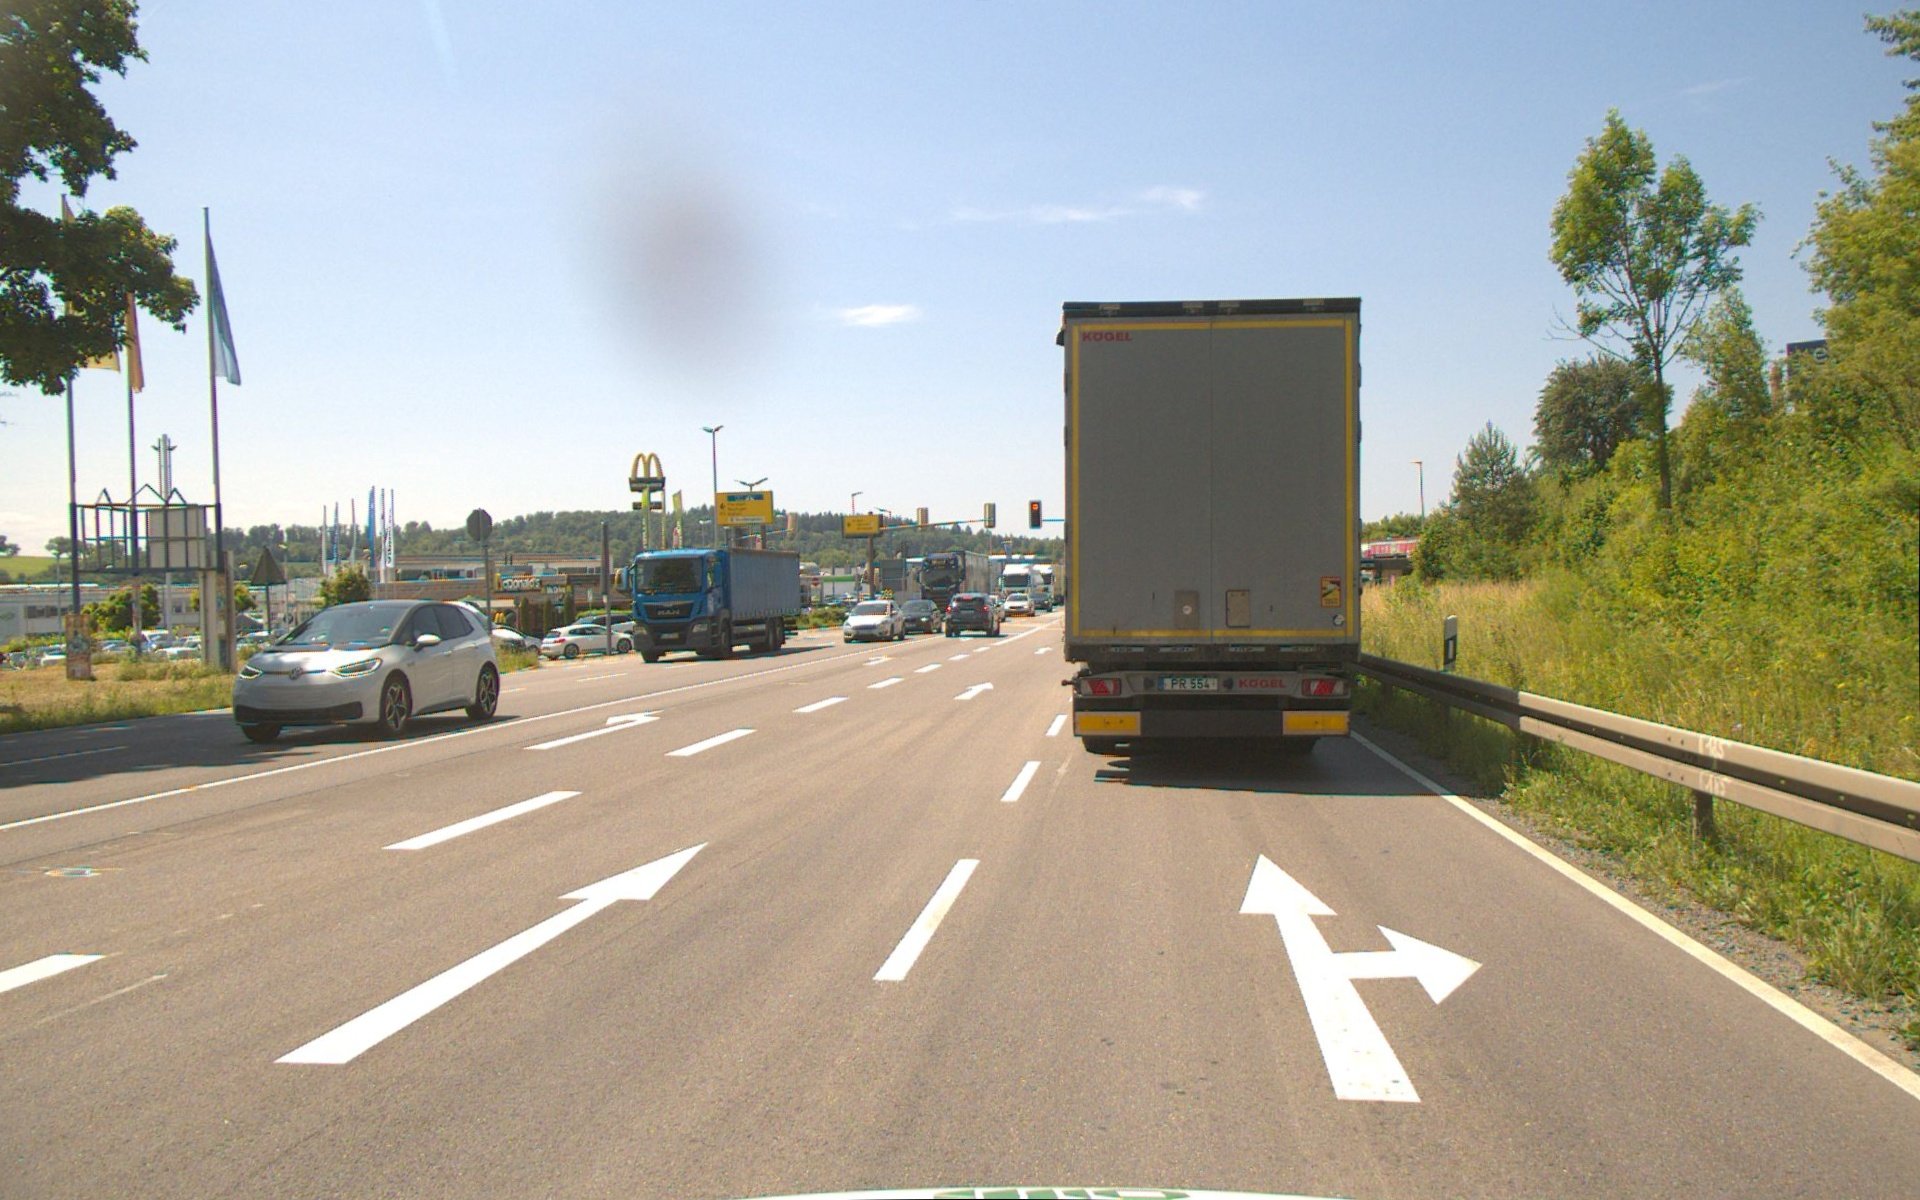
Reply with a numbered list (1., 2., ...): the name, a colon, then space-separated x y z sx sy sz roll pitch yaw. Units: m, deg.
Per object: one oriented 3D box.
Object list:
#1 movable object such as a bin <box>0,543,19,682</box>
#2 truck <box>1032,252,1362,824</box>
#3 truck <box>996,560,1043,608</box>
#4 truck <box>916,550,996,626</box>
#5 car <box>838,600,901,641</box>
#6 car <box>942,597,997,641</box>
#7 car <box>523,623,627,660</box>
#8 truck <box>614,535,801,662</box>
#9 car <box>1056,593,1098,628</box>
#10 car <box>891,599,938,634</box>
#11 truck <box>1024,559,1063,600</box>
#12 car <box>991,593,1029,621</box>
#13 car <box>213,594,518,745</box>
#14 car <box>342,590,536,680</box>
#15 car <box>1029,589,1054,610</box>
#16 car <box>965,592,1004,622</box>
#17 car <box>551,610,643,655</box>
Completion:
1. movable object such as a bin: -26.427 0.390 39.117 6.737 3.356 3.005 -2 0 -43
2. truck: 2.769 -0.385 22.038 2.697 4.720 16.664 0 -1 6
3. truck: 5.399 -1.363 147.760 2.872 4.019 14.248 -1 0 7
4. truck: -0.036 -0.709 105.634 3.079 4.425 17.554 -1 0 6
5. car: -3.261 0.732 60.579 1.751 1.451 4.265 0 0 5
6. car: 0.399 0.699 63.574 1.756 1.655 4.372 0 0 5
7. car: -16.404 1.752 70.532 3.978 1.506 1.763 1 -1 -41
8. truck: -7.464 -0.007 50.968 2.786 3.410 11.489 -1 0 6
9. car: 5.744 0.497 81.072 1.766 1.699 4.295 0 0 8
10. car: -1.917 0.699 70.616 1.627 1.428 4.019 -1 0 4
11. truck: 8.779 -2.020 172.047 2.872 4.019 13.876 -1 0 8
12. car: 2.864 0.399 94.338 1.772 1.535 4.950 -1 0 6
13. car: -7.085 0.762 20.219 1.754 1.548 4.190 -2 1 7
14. car: -18.184 1.204 57.904 5.870 2.530 2.195 -5 0 0
15. car: 6.232 -0.036 126.034 1.628 1.535 3.908 -2 0 7
16. car: 1.414 0.410 93.473 1.703 1.529 4.409 -3 -1 7
17. car: -17.600 1.571 80.332 1.963 2.049 3.979 -1 0 40
